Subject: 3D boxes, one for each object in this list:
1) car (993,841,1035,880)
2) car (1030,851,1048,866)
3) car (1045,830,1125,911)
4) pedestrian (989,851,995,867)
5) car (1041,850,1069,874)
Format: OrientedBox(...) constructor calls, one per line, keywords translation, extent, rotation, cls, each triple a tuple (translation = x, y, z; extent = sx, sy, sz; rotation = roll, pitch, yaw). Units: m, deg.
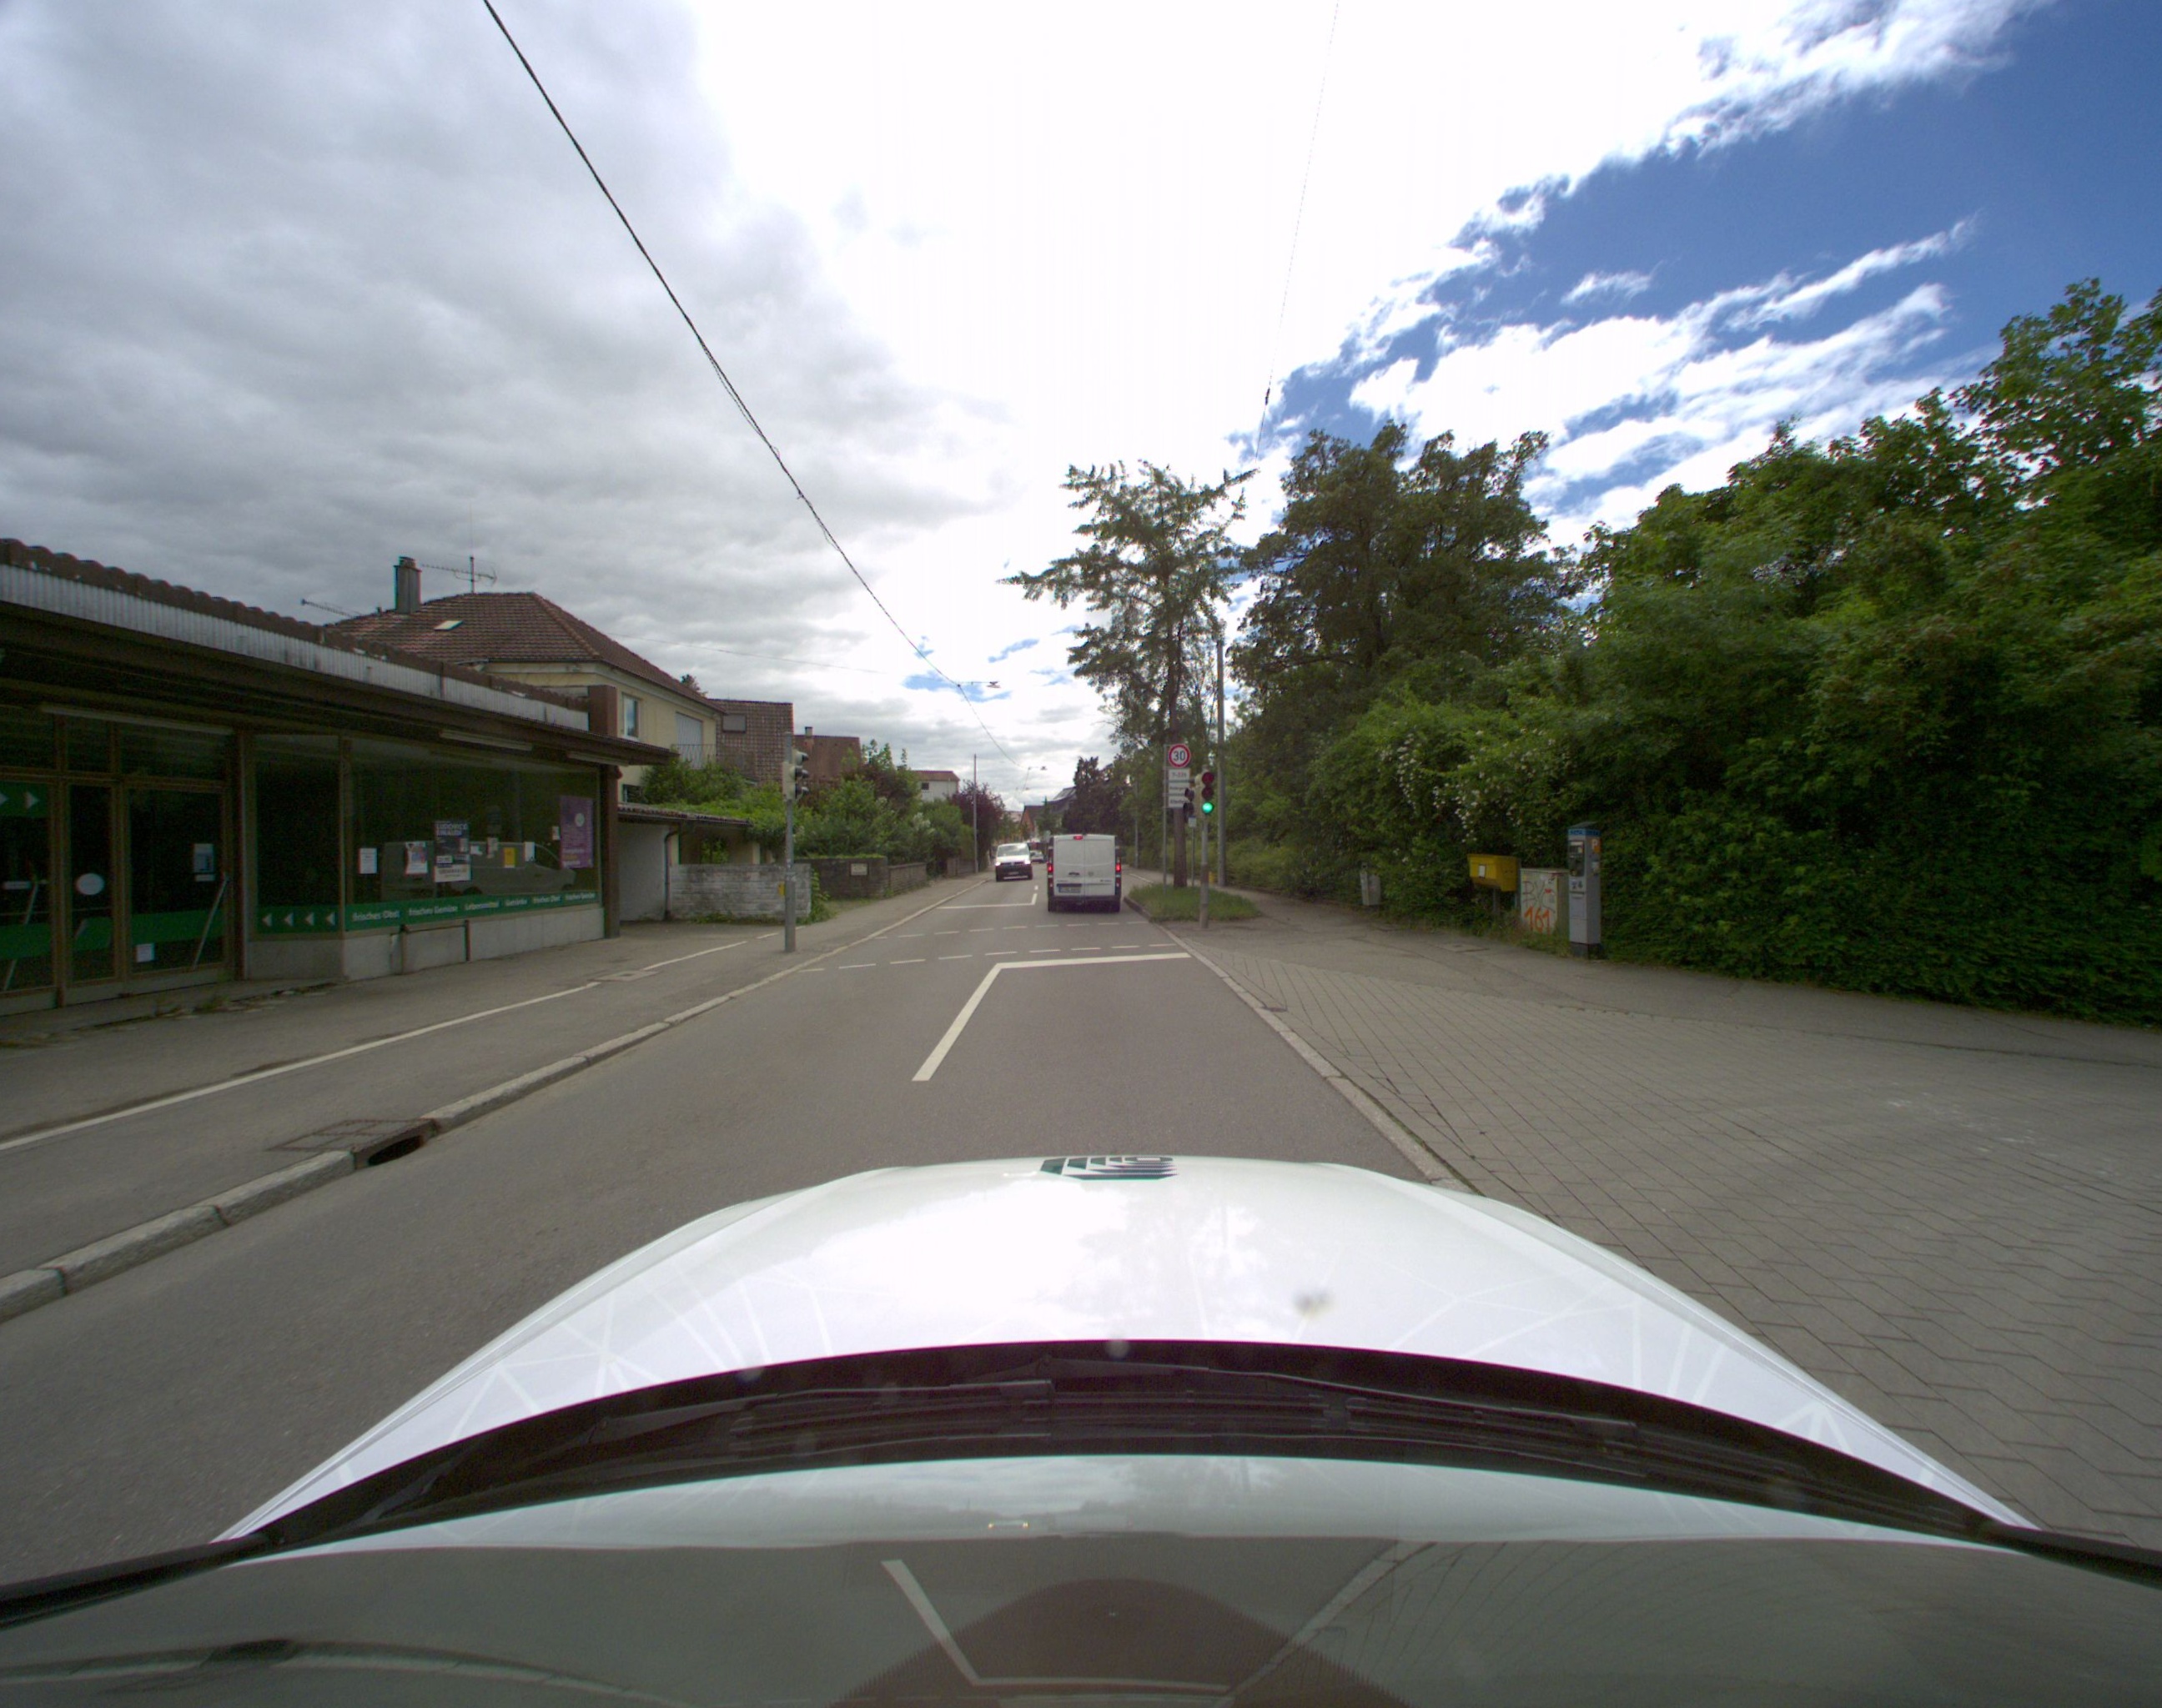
OrientedBox(translation=(-3.525, 0.303, 43.695), extent=(1.862, 1.911, 5.111), rotation=(-3, 1, -2), cls="car")
OrientedBox(translation=(-5.177, 0.568, 100.289), extent=(1.825, 1.728, 3.987), rotation=(0, 0, -10), cls="car")
OrientedBox(translation=(0.016, 0.406, 21.983), extent=(1.925, 1.964, 4.398), rotation=(0, 0, -2), cls="car")
OrientedBox(translation=(-10.011, 0.545, 91.340), extent=(0.413, 1.714, 0.457), rotation=(0, -1, 41), cls="pedestrian")
OrientedBox(translation=(-2.087, 0.624, 66.566), extent=(1.889, 1.860, 4.407), rotation=(0, 0, 3), cls="car")
